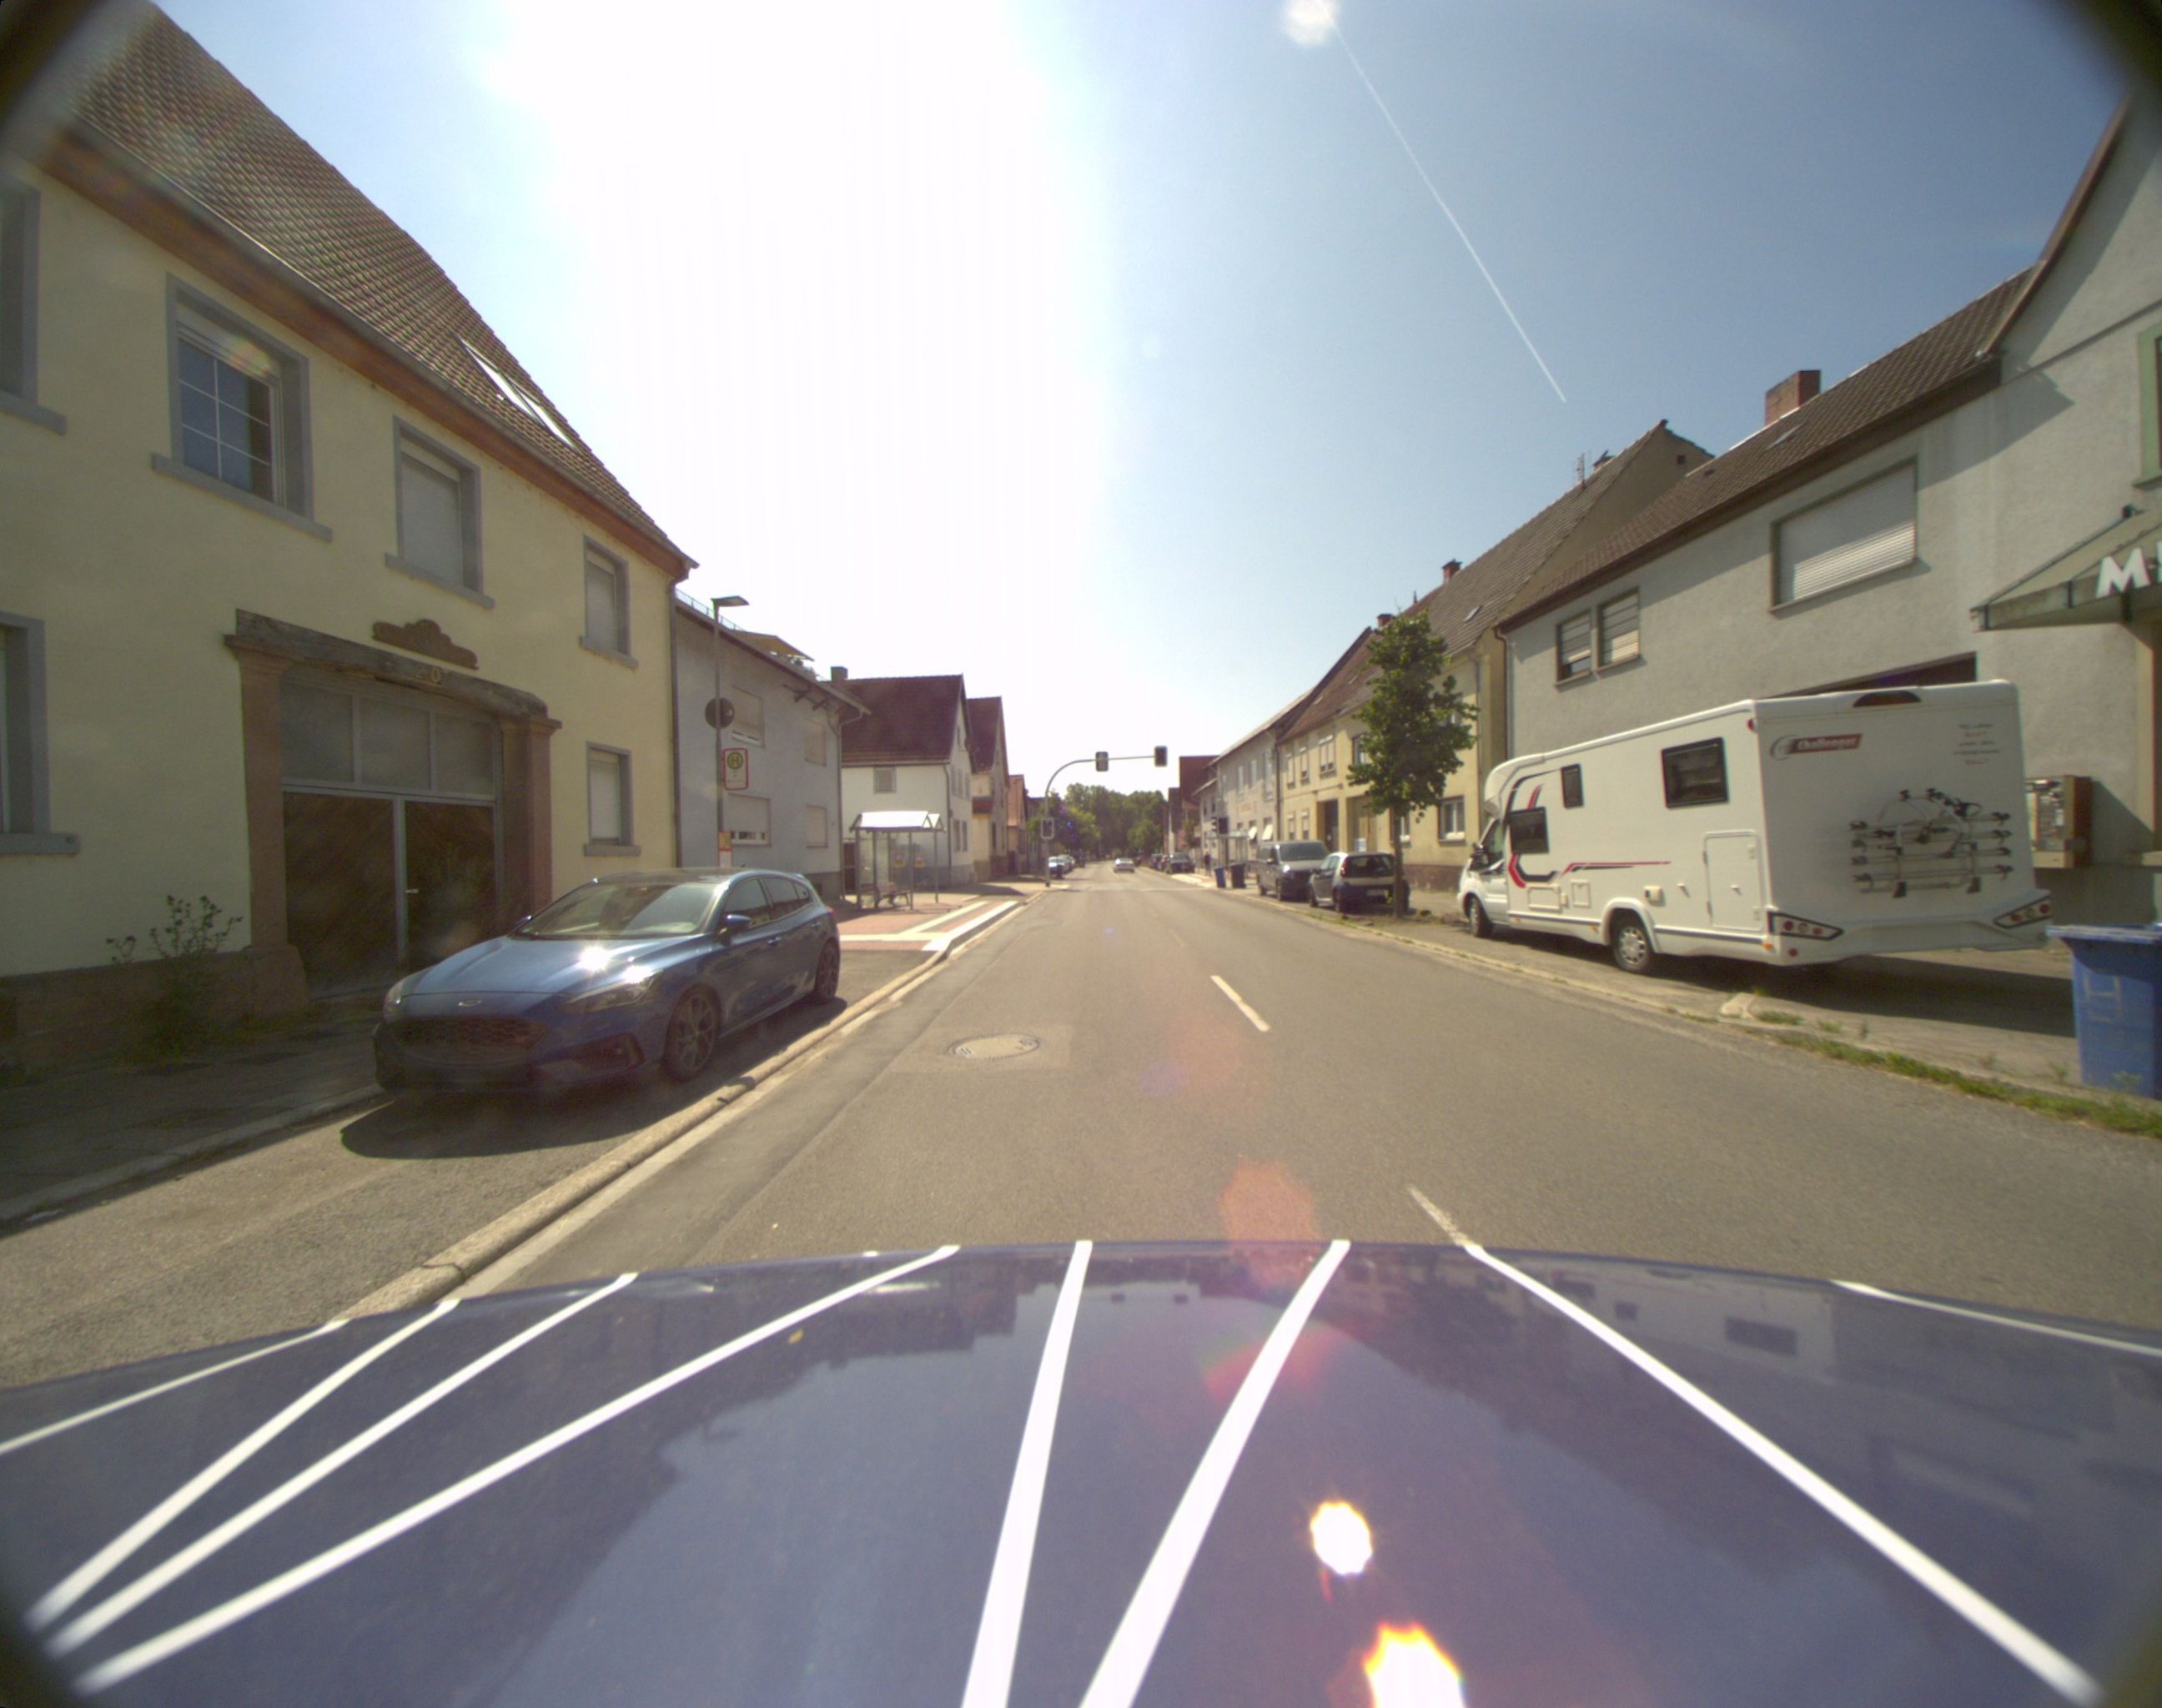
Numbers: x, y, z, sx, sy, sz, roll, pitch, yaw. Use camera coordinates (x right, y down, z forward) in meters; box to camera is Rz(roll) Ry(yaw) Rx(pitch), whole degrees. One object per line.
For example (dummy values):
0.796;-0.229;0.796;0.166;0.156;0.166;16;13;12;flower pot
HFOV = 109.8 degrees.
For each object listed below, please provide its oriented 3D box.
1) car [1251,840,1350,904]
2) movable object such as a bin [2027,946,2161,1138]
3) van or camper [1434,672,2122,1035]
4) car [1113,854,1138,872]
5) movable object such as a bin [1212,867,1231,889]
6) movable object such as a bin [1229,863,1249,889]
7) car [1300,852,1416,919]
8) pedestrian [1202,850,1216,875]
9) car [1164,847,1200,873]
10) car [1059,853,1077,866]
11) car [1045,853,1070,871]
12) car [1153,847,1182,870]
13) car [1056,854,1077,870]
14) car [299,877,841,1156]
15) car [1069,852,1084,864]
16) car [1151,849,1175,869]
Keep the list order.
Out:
7.001;0.530;24.794;1.998;1.837;4.957;-2;0;3;car
5.678;0.965;3.993;0.644;0.867;0.613;-2;1;1;movable object such as a bin
7.322;-0.005;9.733;2.451;2.888;7.068;-2;0;2;van or camper
3.987;0.797;68.832;1.998;1.521;4.000;-2;0;0;car
6.249;1.065;33.907;0.718;0.907;0.550;-2;1;-1;movable object such as a bin
6.765;0.929;32.564;0.718;1.060;0.550;-2;1;-1;movable object such as a bin
6.898;0.724;19.320;1.689;1.474;3.618;-2;0;1;car
7.981;0.521;47.487;0.752;1.523;0.581;-2;1;0;pedestrian
7.692;0.452;58.312;2.355;1.837;4.957;-1;0;3;car
-1.515;0.605;90.519;1.998;1.477;4.000;-2;0;0;car
-2.003;0.707;66.629;1.998;1.477;4.000;-2;0;0;car
7.738;0.360;68.285;1.998;1.837;4.955;-3;1;0;car
-1.463;0.790;77.511;1.998;1.477;4.000;-2;0;0;car
-3.515;0.978;6.286;1.733;1.419;3.986;-1;0;0;car
-0.661;0.540;111.684;1.998;1.659;4.000;-2;0;0;car
7.891;0.492;73.500;1.998;1.837;4.957;-1;0;3;car
